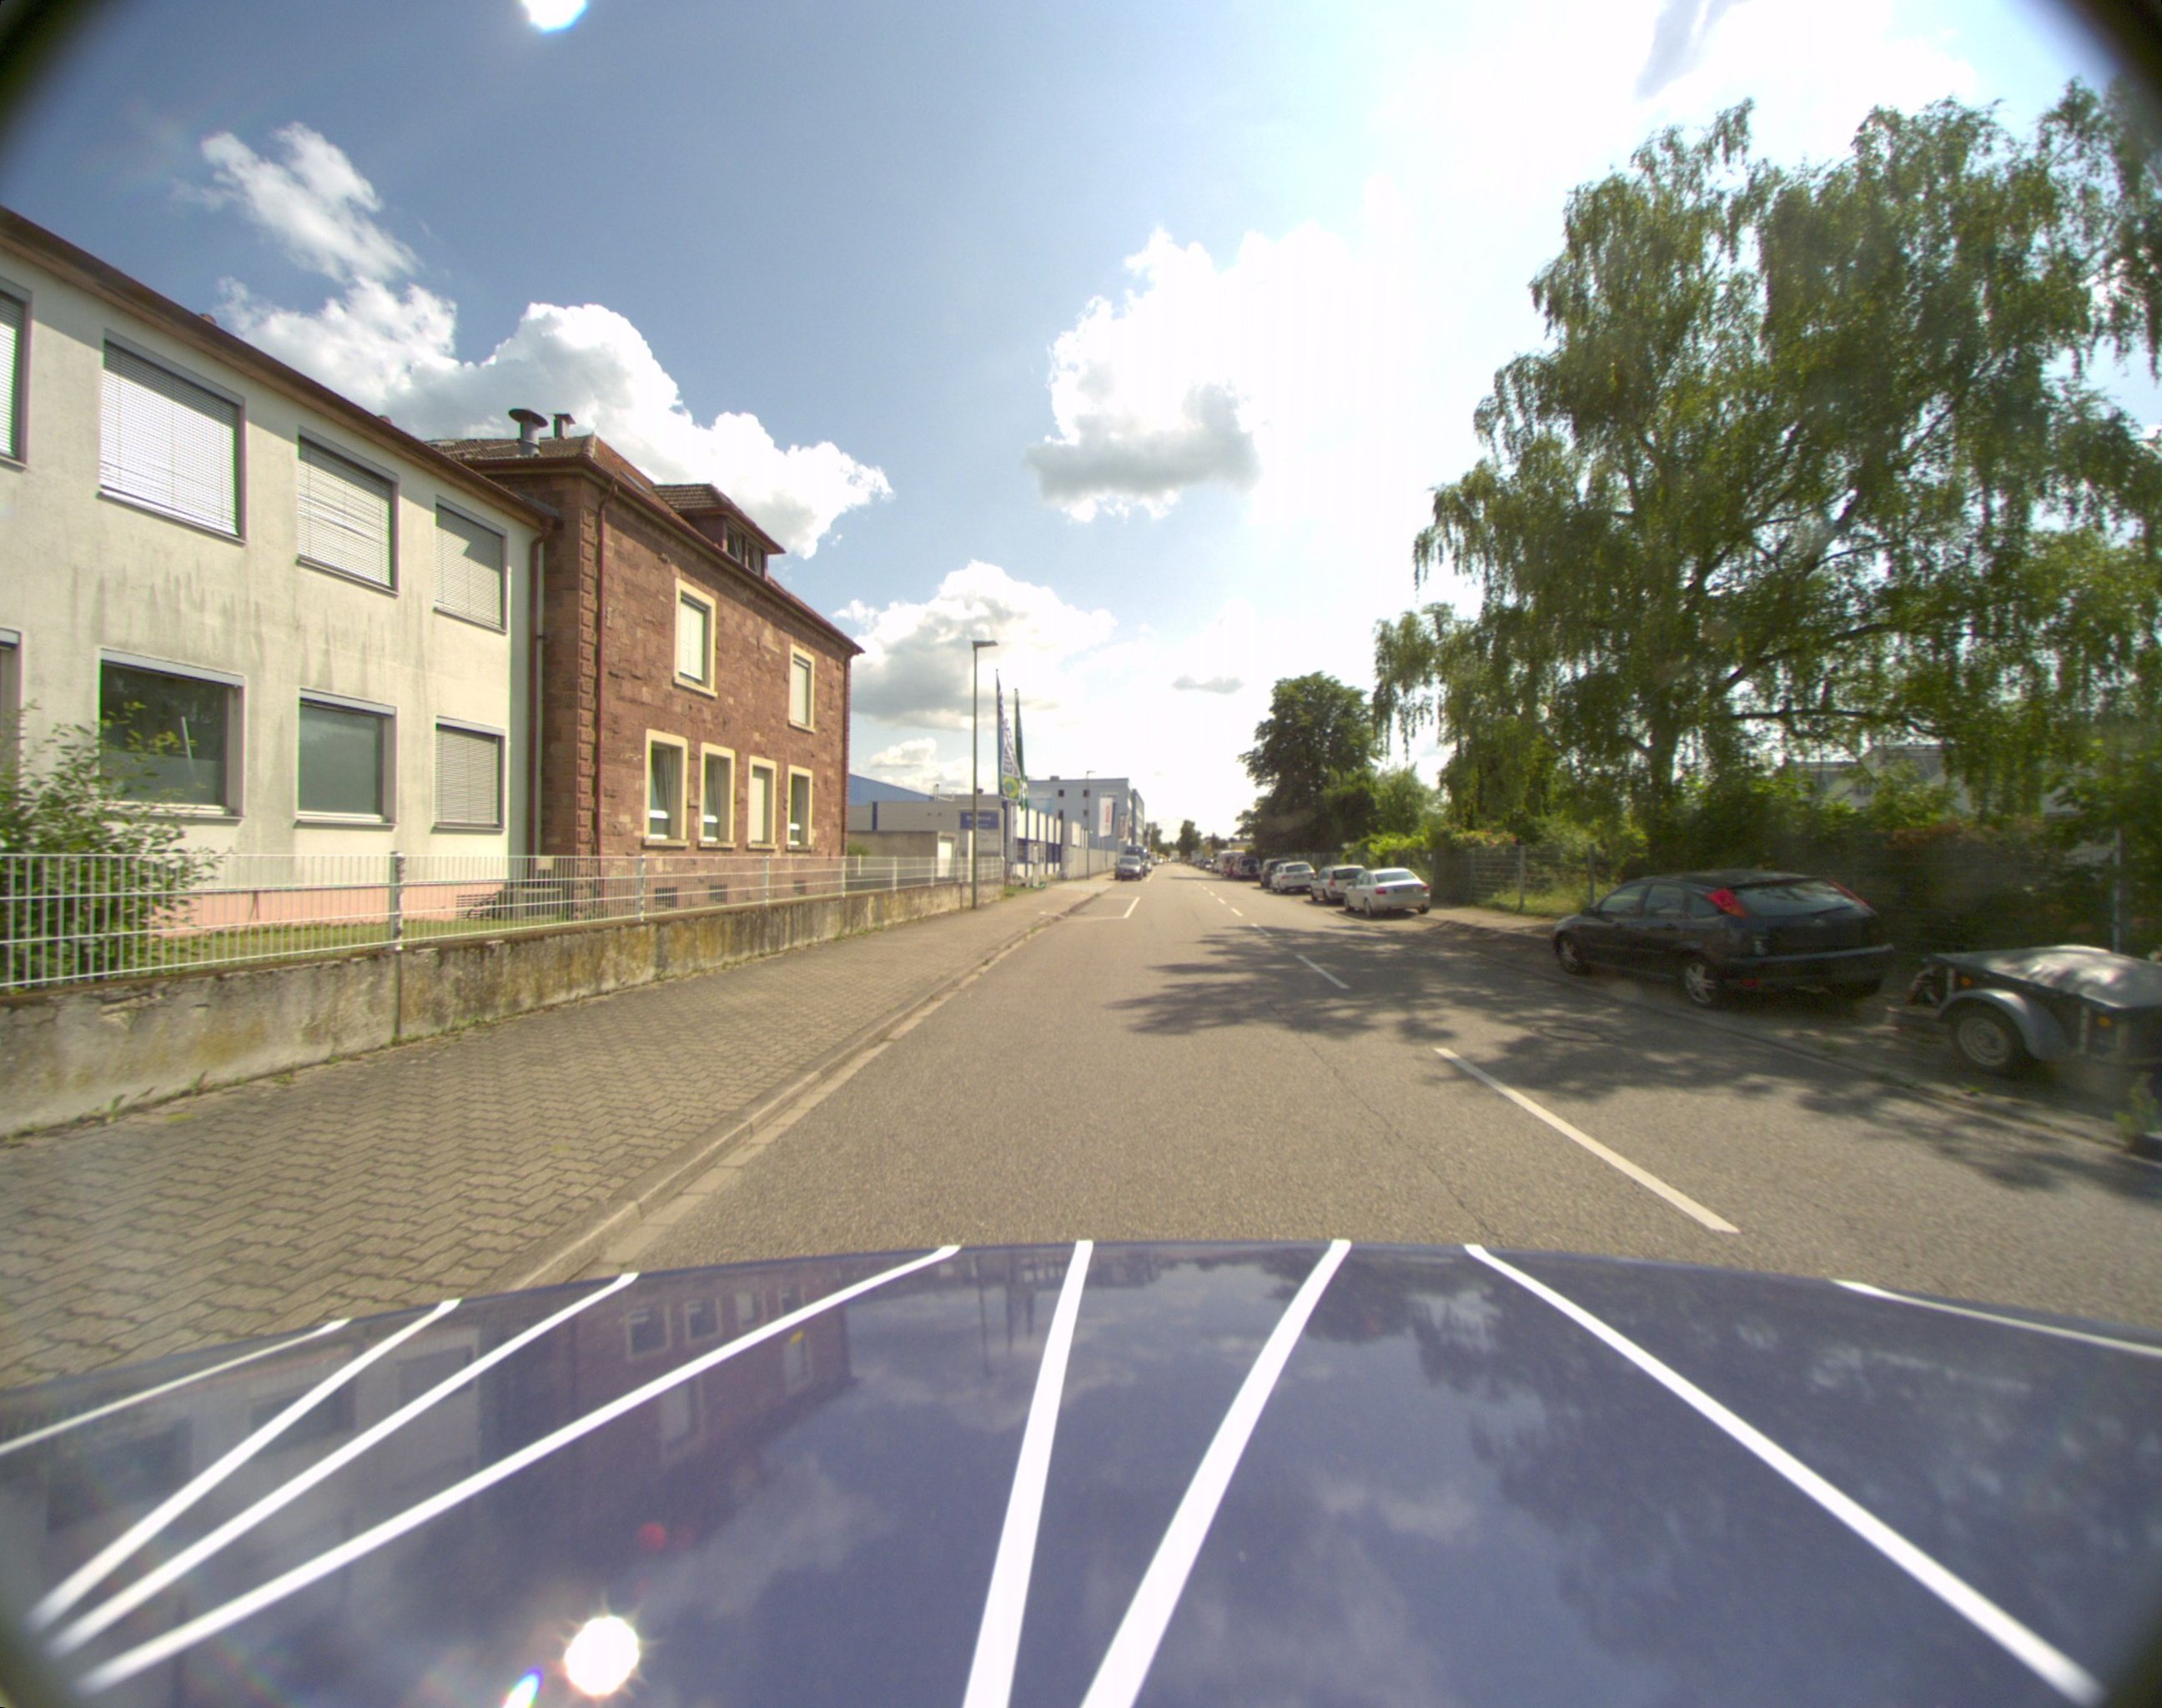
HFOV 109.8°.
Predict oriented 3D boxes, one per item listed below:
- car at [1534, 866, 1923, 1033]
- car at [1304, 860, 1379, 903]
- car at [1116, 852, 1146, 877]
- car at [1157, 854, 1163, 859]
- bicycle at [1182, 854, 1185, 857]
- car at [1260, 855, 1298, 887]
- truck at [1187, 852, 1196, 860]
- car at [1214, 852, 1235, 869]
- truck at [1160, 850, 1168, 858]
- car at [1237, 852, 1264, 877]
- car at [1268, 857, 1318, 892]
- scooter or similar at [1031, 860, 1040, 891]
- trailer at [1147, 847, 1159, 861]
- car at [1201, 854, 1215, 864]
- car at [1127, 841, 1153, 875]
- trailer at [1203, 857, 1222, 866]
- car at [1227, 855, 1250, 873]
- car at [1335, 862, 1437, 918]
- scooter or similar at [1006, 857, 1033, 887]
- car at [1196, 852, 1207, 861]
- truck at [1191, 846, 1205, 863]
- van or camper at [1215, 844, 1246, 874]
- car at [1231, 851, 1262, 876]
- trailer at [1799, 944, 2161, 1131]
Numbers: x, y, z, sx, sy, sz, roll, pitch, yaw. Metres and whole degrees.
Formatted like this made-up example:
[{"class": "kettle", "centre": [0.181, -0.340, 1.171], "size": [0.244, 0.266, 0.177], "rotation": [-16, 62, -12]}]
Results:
[{"class": "car", "centre": [7.792, 1.012, 9.785], "size": [1.686, 1.503, 4.159], "rotation": [-3, 1, 5]}, {"class": "car", "centre": [10.270, 1.015, 30.312], "size": [1.798, 1.518, 4.661], "rotation": [1, 0, 6]}, {"class": "car", "centre": [3.527, 0.715, 53.201], "size": [1.828, 1.655, 4.558], "rotation": [1, 0, 7]}, {"class": "car", "centre": [23.645, 0.777, 227.745], "size": [1.656, 1.324, 4.002], "rotation": [1, 0, 6]}, {"class": "bicycle", "centre": [26.661, 0.353, 197.453], "size": [0.588, 0.737, 2.126], "rotation": [1, 0, 9]}, {"class": "car", "centre": [11.547, 0.973, 44.528], "size": [1.614, 1.735, 4.639], "rotation": [-1, 0, 8]}, {"class": "truck", "centre": [29.182, 0.532, 200.763], "size": [2.132, 2.225, 7.354], "rotation": [-2, 0, 9]}, {"class": "car", "centre": [16.168, 0.697, 85.703], "size": [1.687, 1.682, 4.446], "rotation": [-4, 0, 3]}, {"class": "truck", "centre": [28.649, 0.057, 261.179], "size": [2.401, 2.787, 6.379], "rotation": [1, 0, 8]}, {"class": "car", "centre": [13.128, 0.778, 59.051], "size": [1.703, 1.791, 3.829], "rotation": [-3, 0, 8]}, {"class": "car", "centre": [10.620, 0.966, 38.411], "size": [1.703, 1.585, 4.790], "rotation": [1, 0, 7]}, {"class": "scooter or similar", "centre": [-1.932, 0.893, 32.260], "size": [0.333, 1.304, 0.366], "rotation": [1, 1, 6]}, {"class": "trailer", "centre": [13.682, 0.002, 144.819], "size": [1.872, 2.538, 5.075], "rotation": [1, 0, 9]}, {"class": "car", "centre": [18.492, 0.704, 110.973], "size": [1.580, 1.504, 4.203], "rotation": [0, 0, 4]}, {"class": "car", "centre": [5.169, 0.340, 65.992], "size": [1.941, 2.732, 6.157], "rotation": [1, 0, 6]}, {"class": "trailer", "centre": [17.648, 1.009, 102.373], "size": [2.275, 0.878, 7.135], "rotation": [-4, 0, 8]}, {"class": "car", "centre": [14.806, 0.946, 71.508], "size": [1.628, 1.523, 4.270], "rotation": [-4, 0, 6]}, {"class": "car", "centre": [9.586, 1.073, 24.288], "size": [1.728, 1.468, 4.633], "rotation": [-3, 0, 5]}, {"class": "scooter or similar", "centre": [-2.670, 0.779, 33.043], "size": [1.147, 1.238, 0.259], "rotation": [2, 1, 24]}, {"class": "car", "centre": [20.572, 0.388, 129.476], "size": [1.618, 1.475, 3.711], "rotation": [-1, 0, 6]}, {"class": "truck", "centre": [24.090, 0.075, 156.265], "size": [2.255, 3.342, 6.910], "rotation": [-4, -1, 6]}, {"class": "van or camper", "centre": [15.382, 0.473, 78.555], "size": [2.267, 2.787, 6.835], "rotation": [-3, 0, 5]}, {"class": "car", "centre": [14.185, 0.757, 65.426], "size": [1.902, 1.943, 4.960], "rotation": [-5, 0, 6]}, {"class": "trailer", "centre": [7.636, 1.341, 6.134], "size": [1.467, 0.846, 2.468], "rotation": [-4, 0, 7]}]
